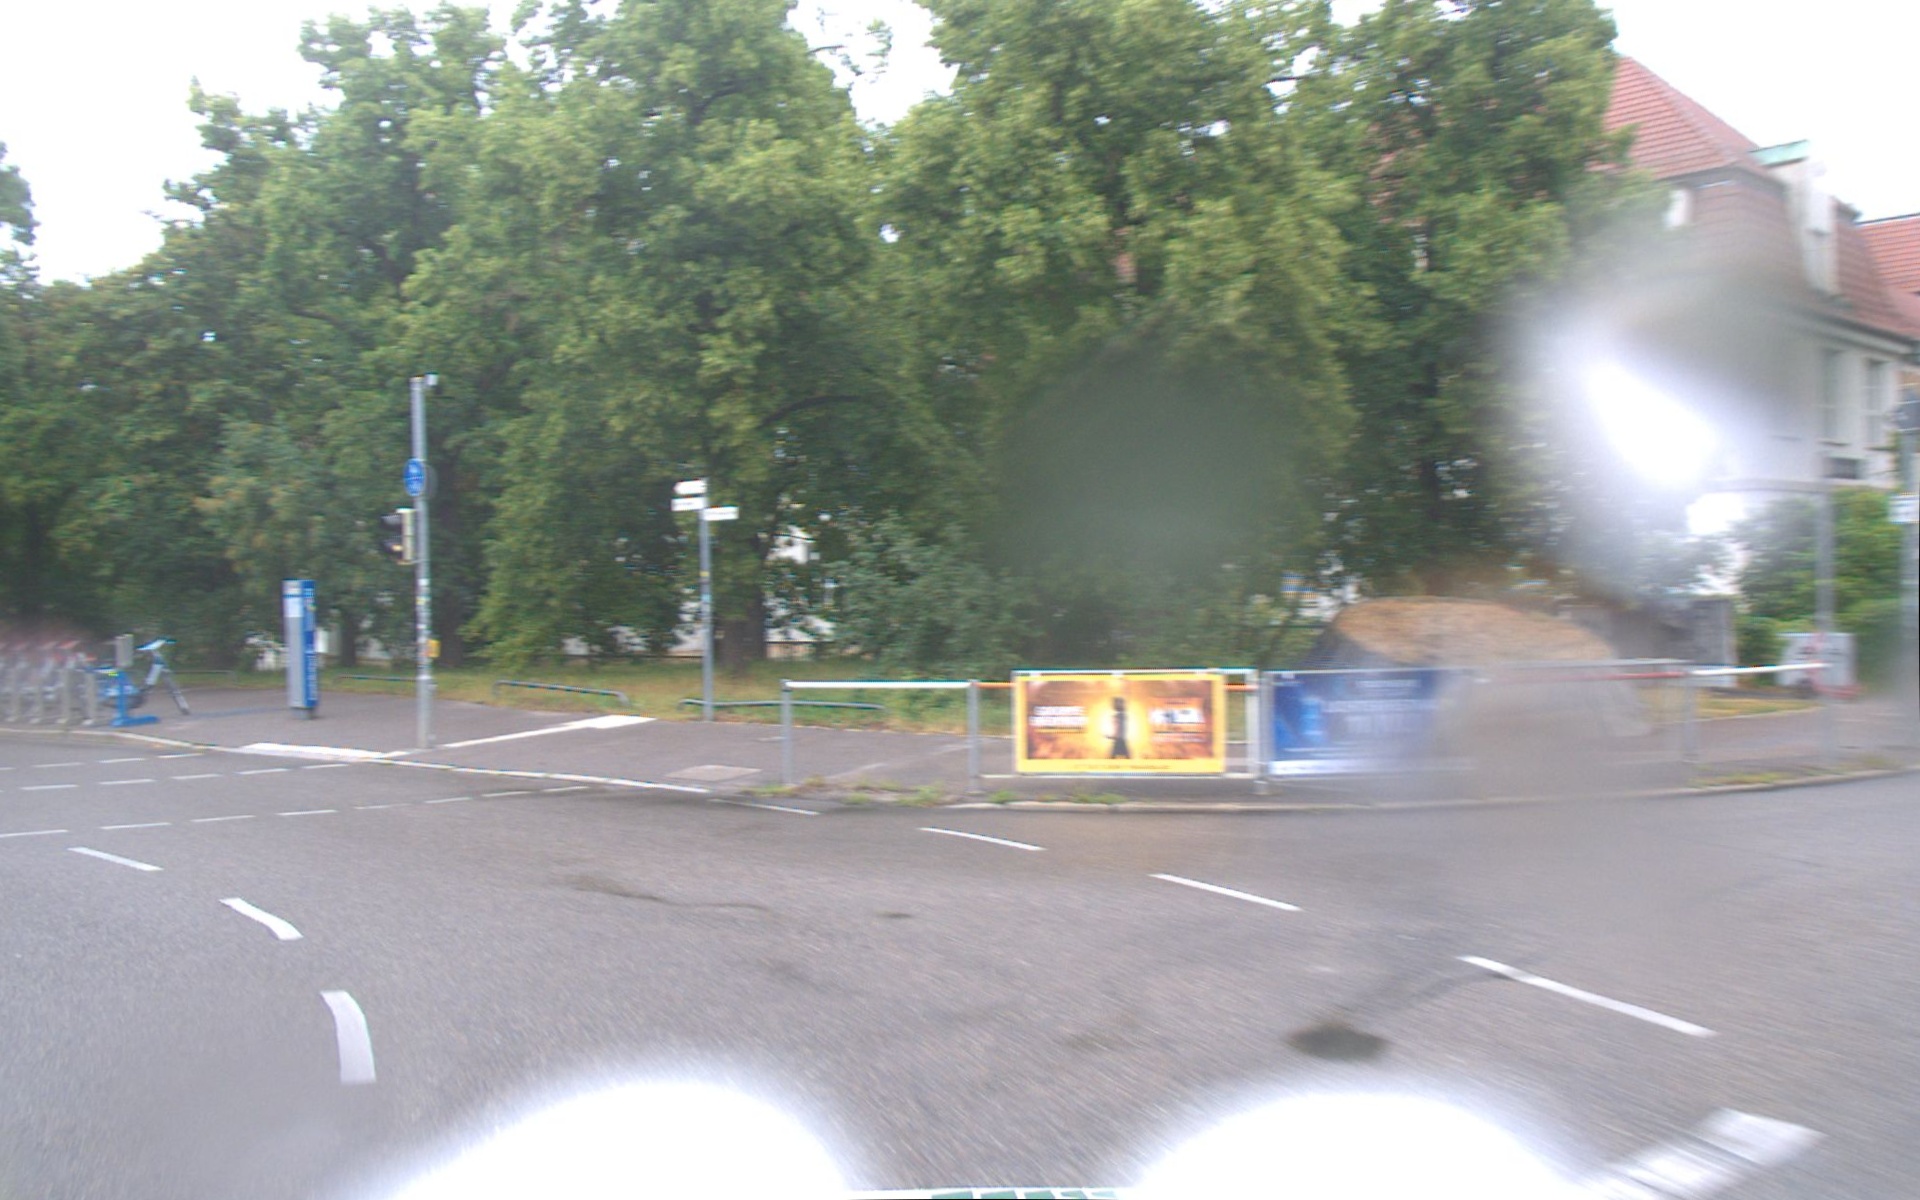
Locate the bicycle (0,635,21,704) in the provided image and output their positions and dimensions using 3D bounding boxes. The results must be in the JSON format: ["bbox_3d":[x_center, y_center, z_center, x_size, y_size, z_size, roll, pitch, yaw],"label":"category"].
[{"bbox_3d":[-16.785,1.238,27.898,0.546,1.150,1.485,-3,2,36],"label":"bicycle"}]

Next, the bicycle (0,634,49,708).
[{"bbox_3d":[-16.045,1.208,27.410,0.546,1.150,1.485,-3,2,36],"label":"bicycle"}]

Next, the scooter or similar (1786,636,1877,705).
[{"bbox_3d":[12.956,1.044,24.597,1.065,0.971,0.538,1,0,-7],"label":"scooter or similar"}]

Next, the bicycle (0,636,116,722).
[{"bbox_3d":[-13.978,1.208,25.577,0.546,1.150,1.485,-3,2,36],"label":"bicycle"}]

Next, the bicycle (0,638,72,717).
[{"bbox_3d":[-15.206,1.255,26.596,0.546,1.150,1.485,-3,2,36],"label":"bicycle"}]

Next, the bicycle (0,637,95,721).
[{"bbox_3d":[-14.579,1.237,26.100,0.546,1.150,1.485,-3,2,36],"label":"bicycle"}]

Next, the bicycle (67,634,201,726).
[{"bbox_3d":[-11.932,1.142,23.934,0.546,1.150,1.595,-3,2,36],"label":"bicycle"}]
